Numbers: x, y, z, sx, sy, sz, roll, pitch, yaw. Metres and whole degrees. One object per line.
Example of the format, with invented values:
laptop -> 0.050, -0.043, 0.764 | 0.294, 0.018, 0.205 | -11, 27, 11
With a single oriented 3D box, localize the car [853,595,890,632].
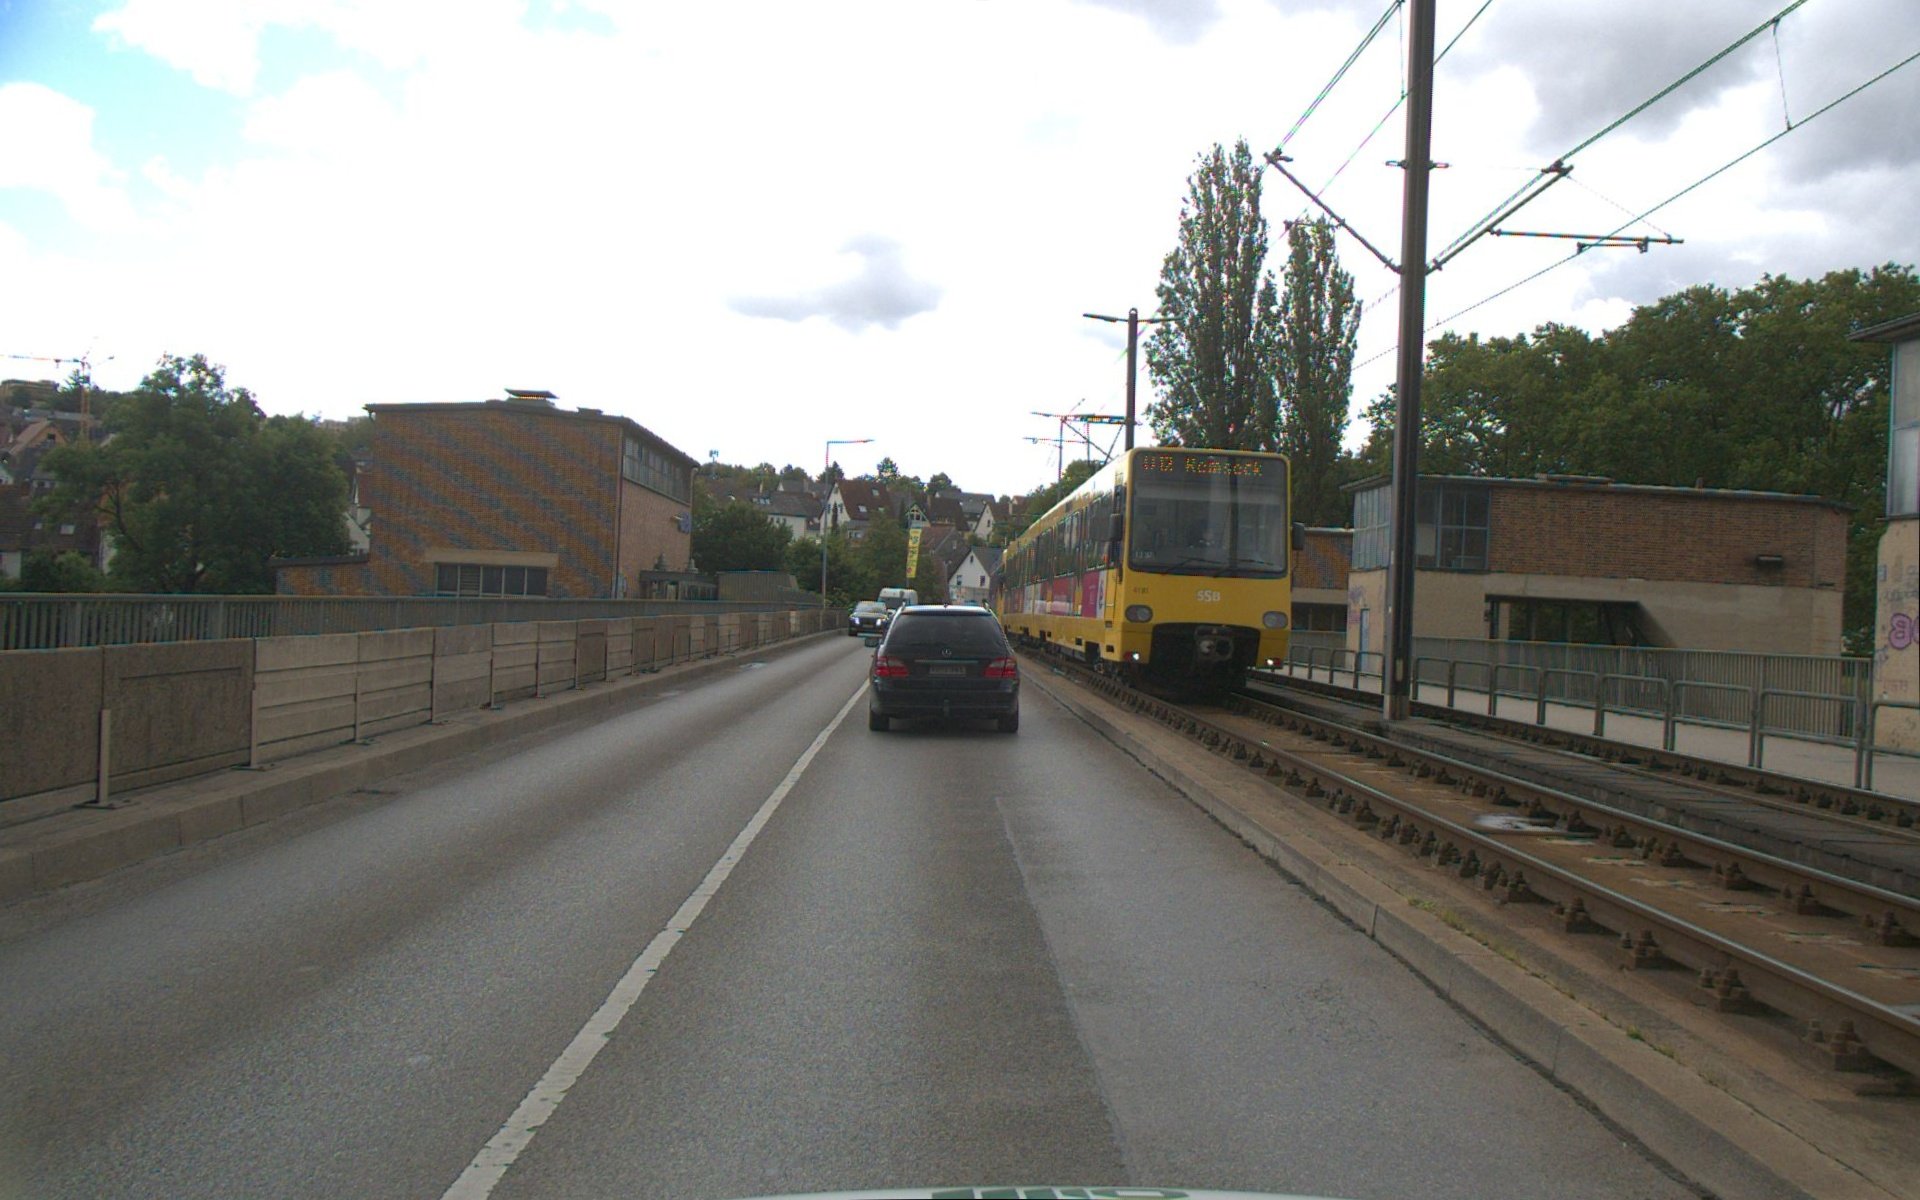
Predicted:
car -> -4.198, 0.635, 78.938 | 1.681, 1.674, 3.999 | 0, 1, -2

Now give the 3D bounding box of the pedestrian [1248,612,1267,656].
pedestrian -> 11.158, 1.280, 62.020 | 0.565, 1.638, 0.612 | 1, 0, 0

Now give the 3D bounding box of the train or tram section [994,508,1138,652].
train or tram section -> 2.869, -0.570, 51.006 | 2.772, 3.643, 18.661 | 0, 0, -1

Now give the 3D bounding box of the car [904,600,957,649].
car -> -1.060, 0.829, 57.815 | 1.735, 1.582, 4.238 | 1, 0, -3

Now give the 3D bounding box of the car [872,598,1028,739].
car -> -0.183, 0.765, 20.618 | 1.723, 1.542, 4.440 | 1, 0, -2

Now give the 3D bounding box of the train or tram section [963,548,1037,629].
train or tram section -> 1.951, -0.549, 90.222 | 2.737, 3.830, 19.884 | 2, 0, -2

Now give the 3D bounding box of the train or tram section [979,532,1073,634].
train or tram section -> 2.526, -0.600, 70.356 | 2.728, 3.720, 19.886 | 0, 0, -1

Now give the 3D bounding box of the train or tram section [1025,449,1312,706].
train or tram section -> 3.278, -0.383, 32.366 | 2.824, 3.570, 18.661 | 0, 0, -1

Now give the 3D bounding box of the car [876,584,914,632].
car -> -3.742, 0.433, 95.899 | 1.992, 2.606, 7.006 | 1, 1, -1
